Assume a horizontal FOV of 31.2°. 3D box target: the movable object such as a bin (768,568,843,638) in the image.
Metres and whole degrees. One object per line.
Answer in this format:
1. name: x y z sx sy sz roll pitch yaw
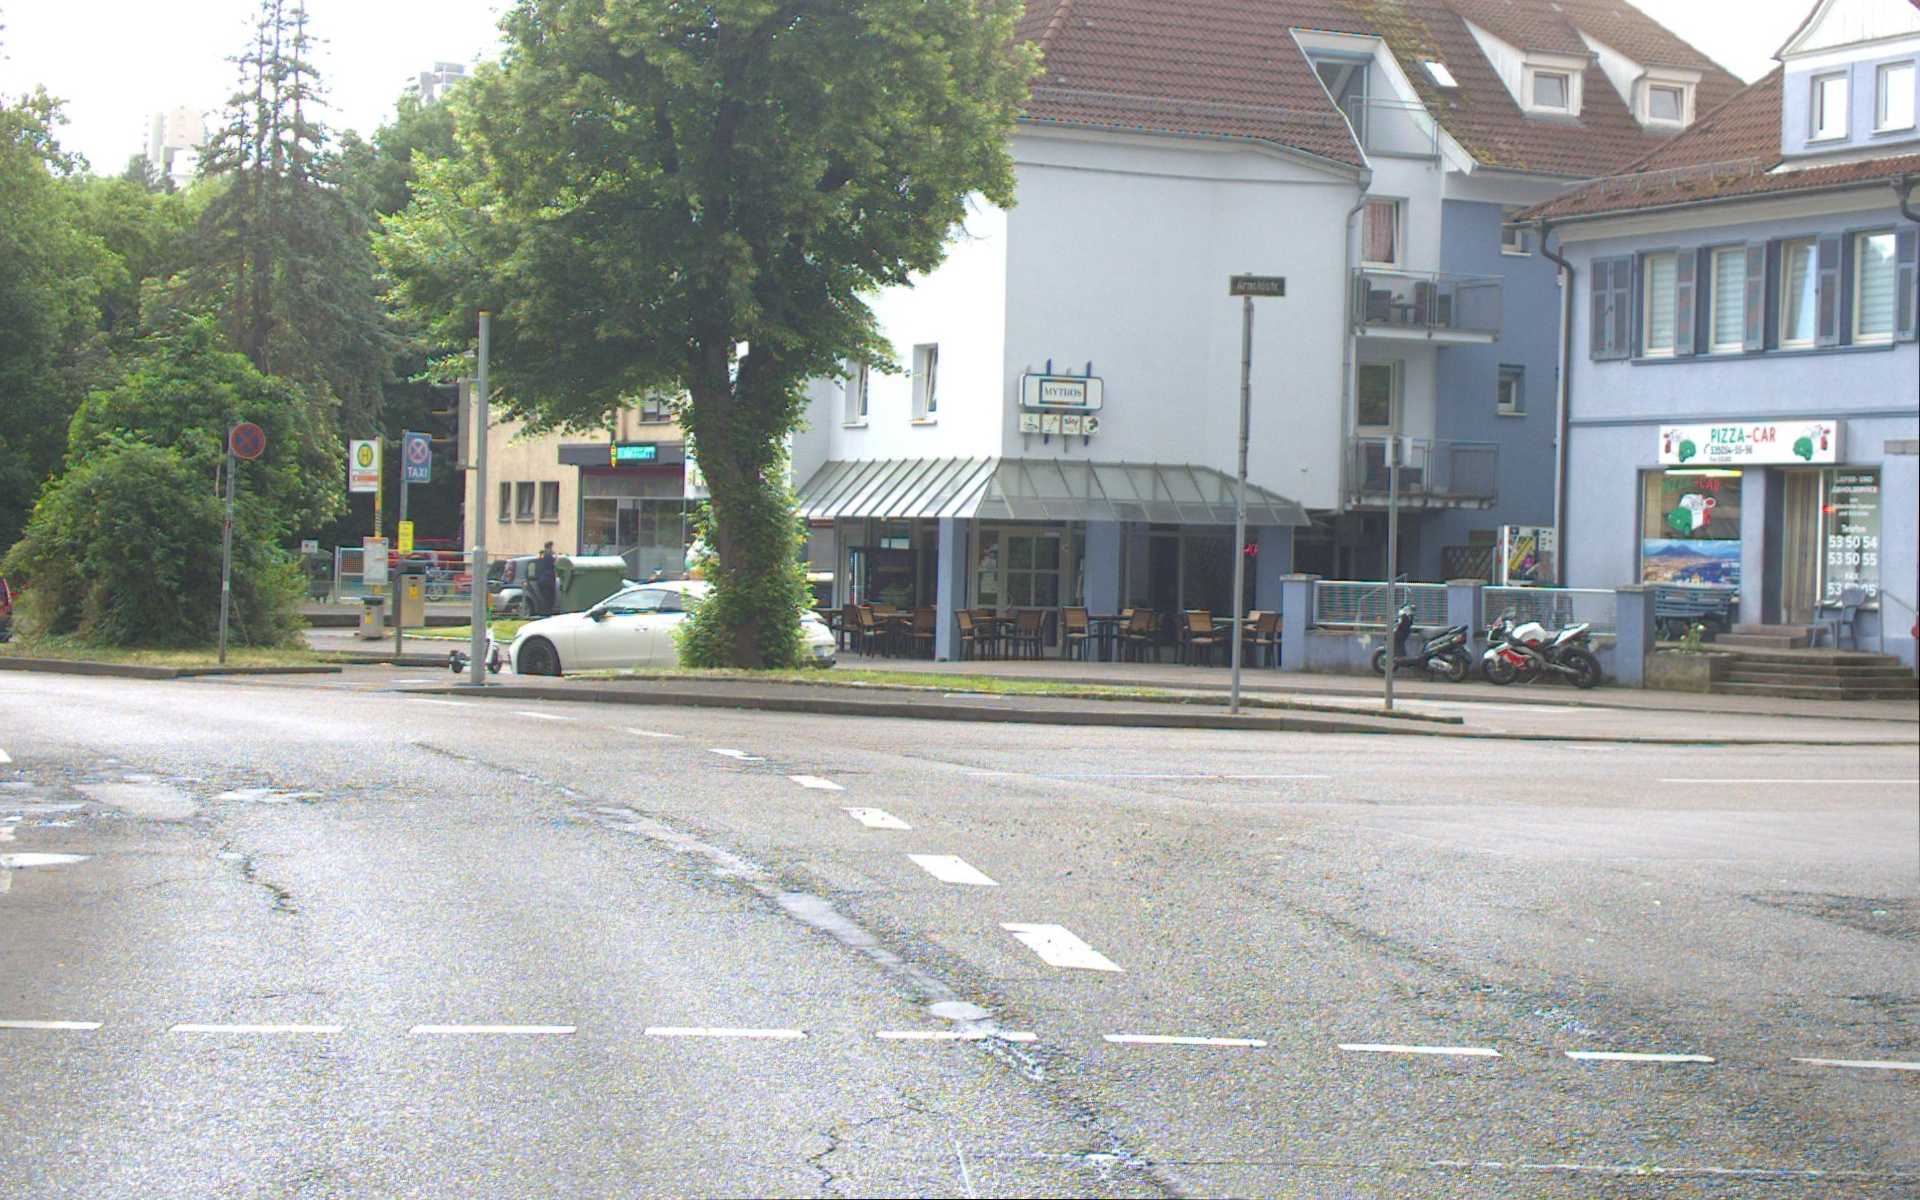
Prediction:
1. movable object such as a bin: -3.166 0.060 70.478 1.214 1.390 1.161 1 0 -22

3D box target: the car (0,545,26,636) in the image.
1. car: -16.492 -0.215 53.736 3.489 1.399 1.571 3 1 28

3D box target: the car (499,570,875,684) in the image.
1. car: -3.664 0.329 45.751 4.782 1.382 1.996 1 1 34

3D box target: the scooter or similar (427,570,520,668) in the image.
1. scooter or similar: -6.043 0.243 42.735 0.412 1.163 1.360 2 -2 26

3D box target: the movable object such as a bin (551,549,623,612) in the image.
1. movable object such as a bin: -8.012 -0.421 73.905 1.216 1.340 0.995 1 1 -31

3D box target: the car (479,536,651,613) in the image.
1. car: -8.700 -0.568 75.771 3.412 1.625 1.625 1 1 -25

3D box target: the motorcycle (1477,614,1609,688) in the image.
1. motorcycle: 8.186 0.706 48.325 1.822 0.982 0.520 2 1 43

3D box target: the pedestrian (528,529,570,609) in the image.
1. pedestrian: -8.915 -0.672 74.589 0.687 1.723 0.611 1 0 -32

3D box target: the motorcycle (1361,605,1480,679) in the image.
1. motorcycle: 6.698 0.603 50.032 1.724 1.028 0.488 2 1 43
